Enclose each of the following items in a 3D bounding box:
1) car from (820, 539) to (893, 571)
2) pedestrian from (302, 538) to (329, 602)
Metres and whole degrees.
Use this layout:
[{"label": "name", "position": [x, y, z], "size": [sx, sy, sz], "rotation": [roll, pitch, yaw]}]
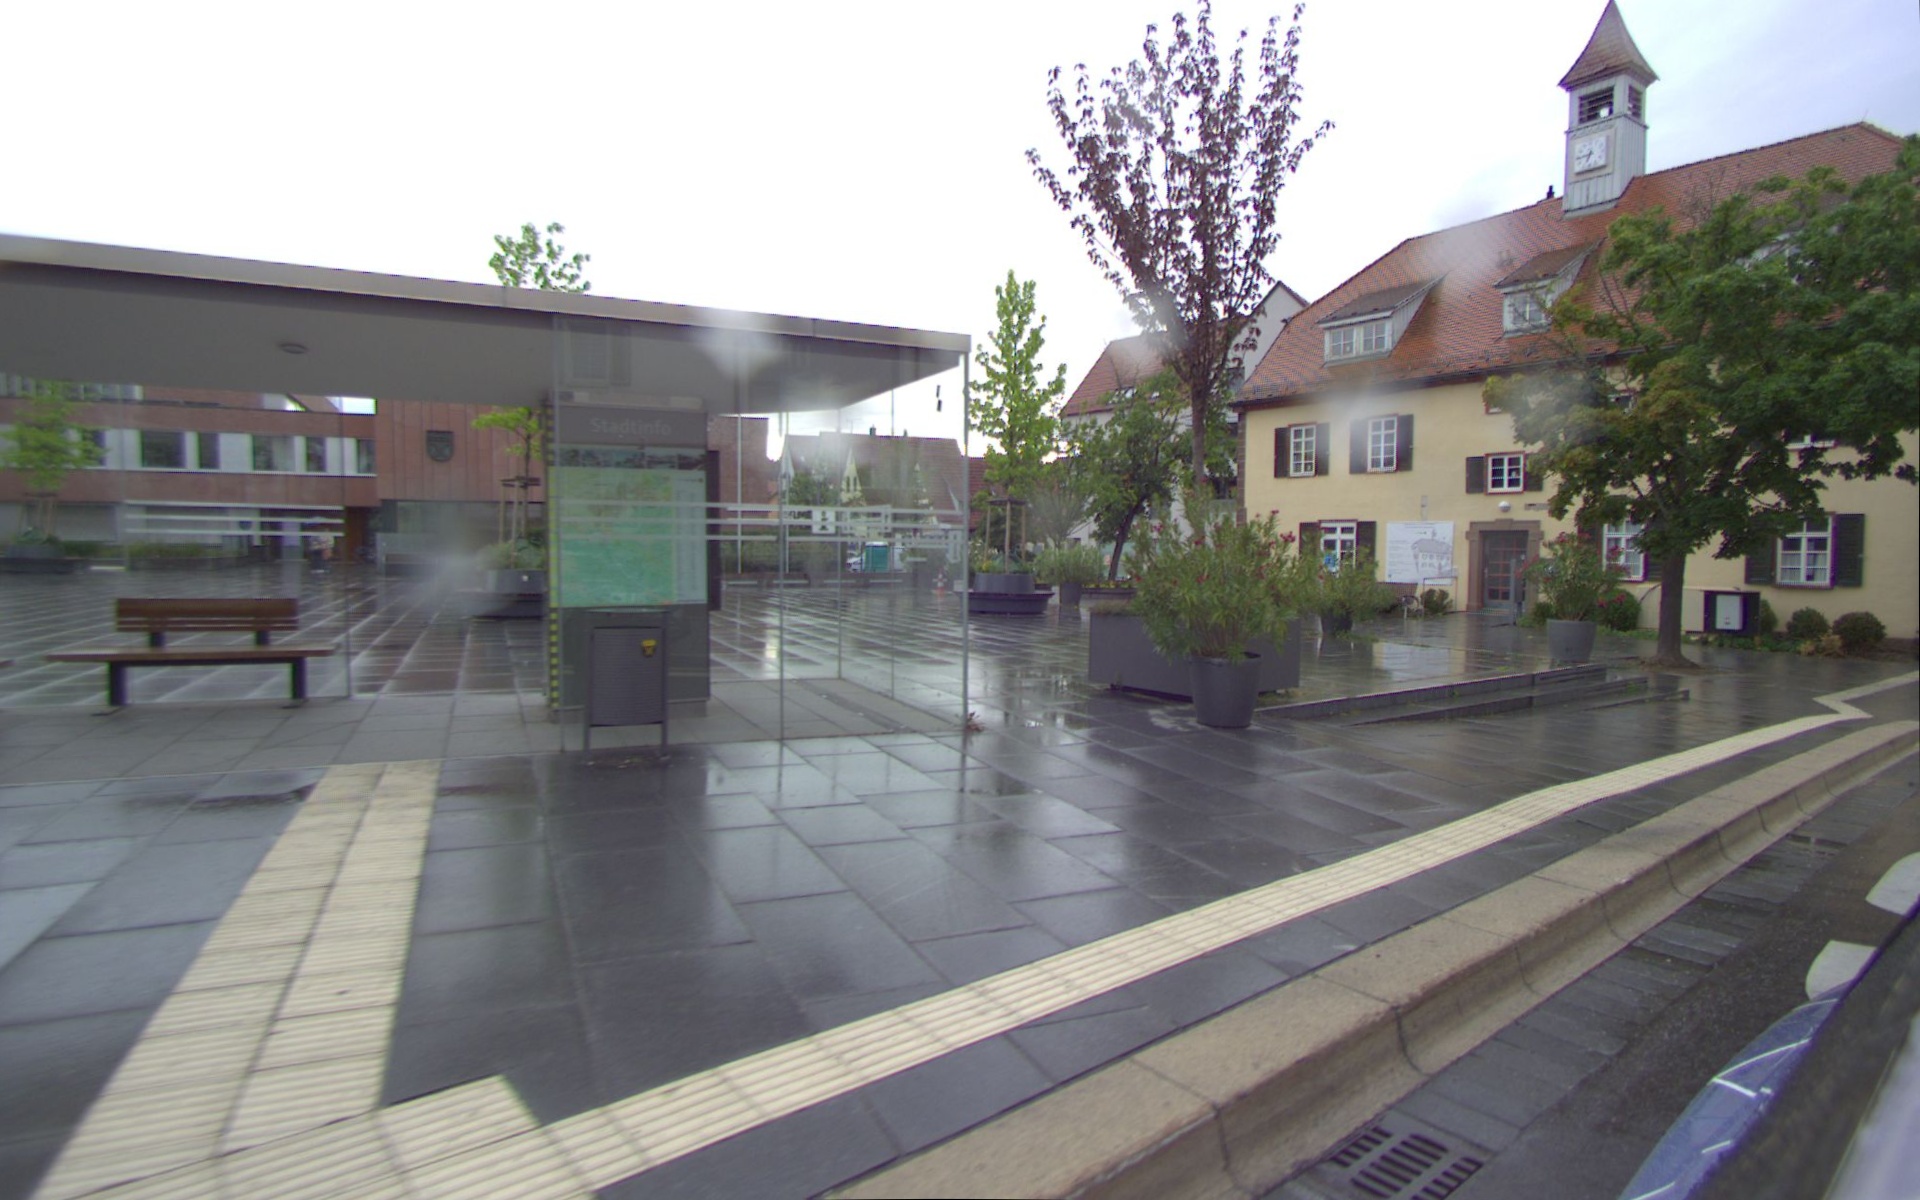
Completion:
[{"label": "car", "position": [-6.119, -2.625, 59.649], "size": [3.919, 1.793, 1.723], "rotation": [-1, 4, -28]}, {"label": "pedestrian", "position": [-24.232, -1.140, 38.084], "size": [0.783, 2.336, 0.905], "rotation": [0, 4, -29]}]
